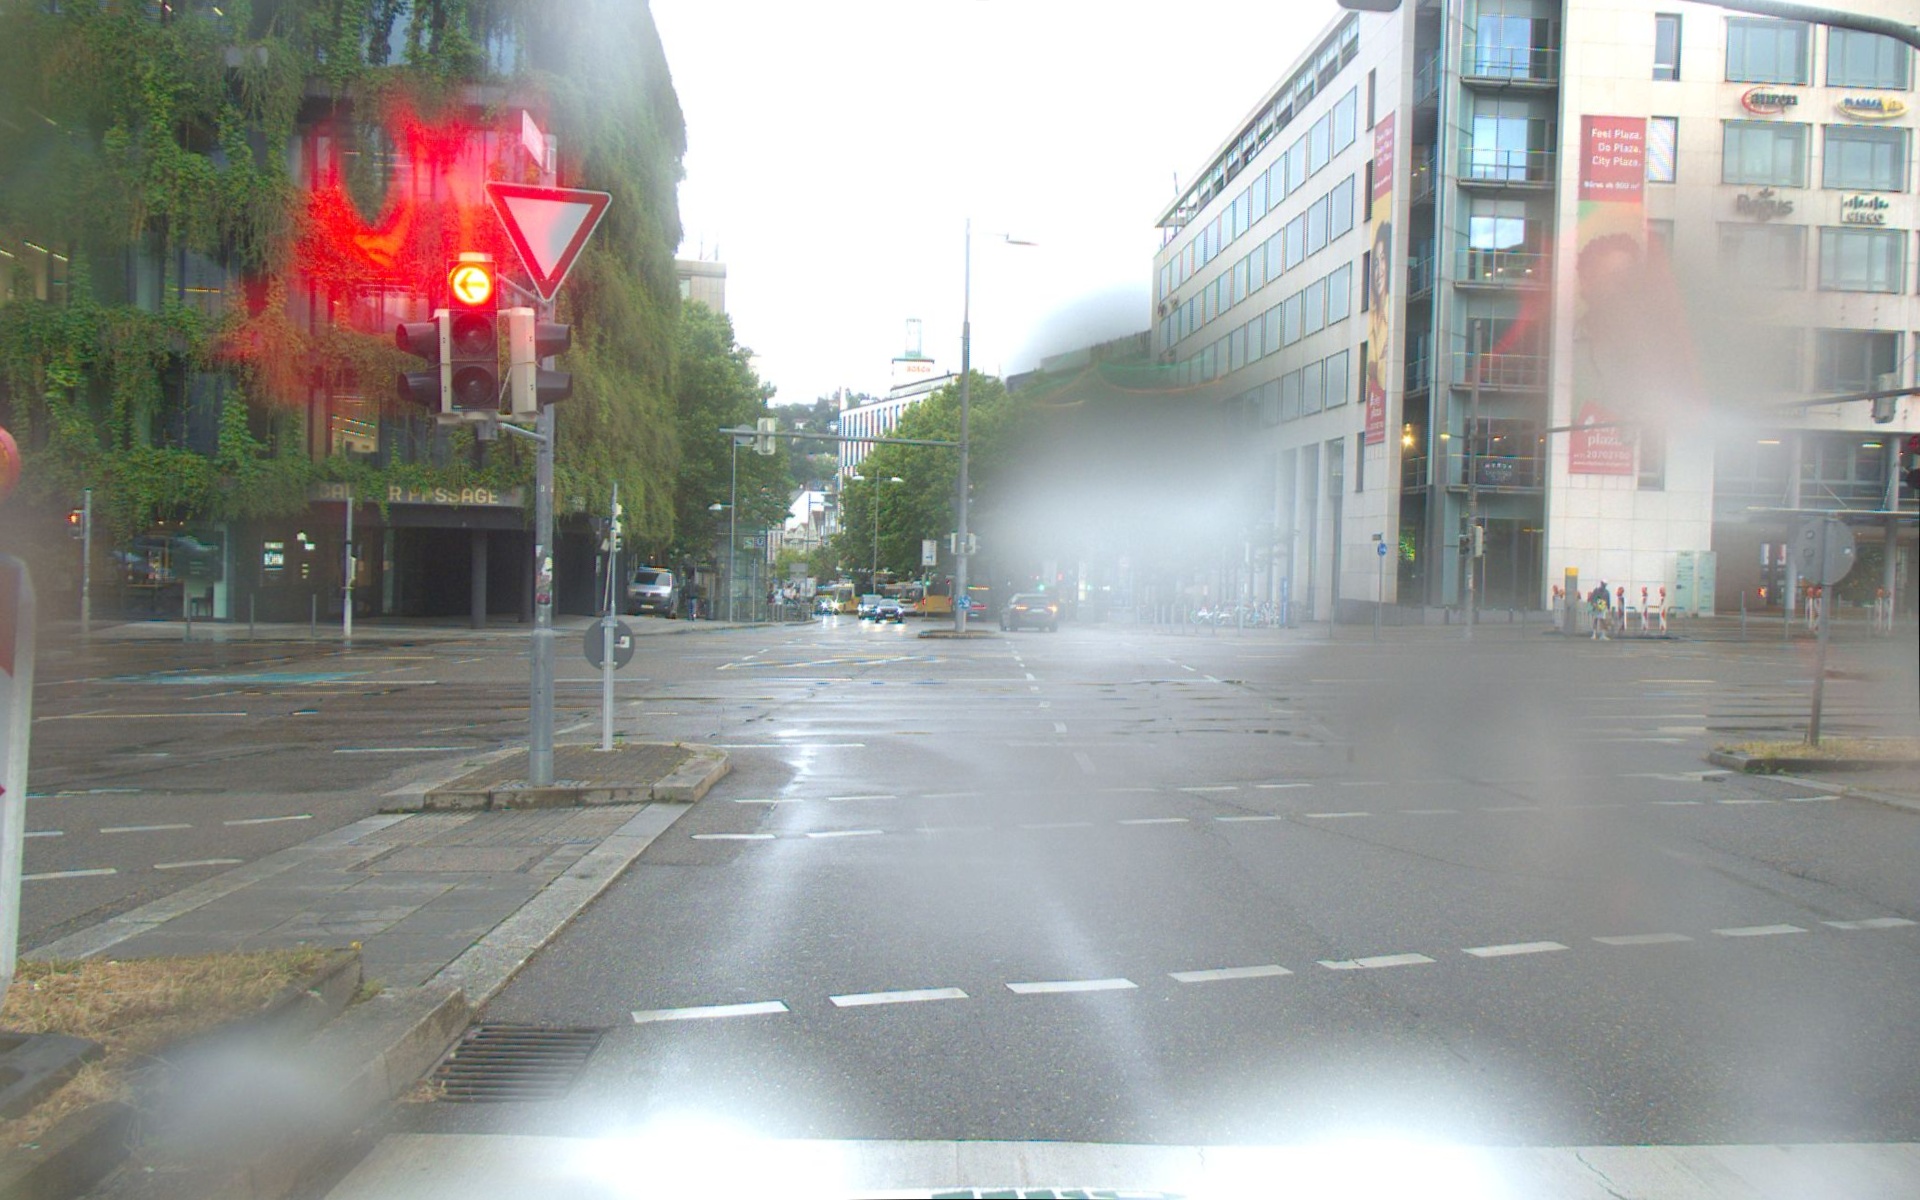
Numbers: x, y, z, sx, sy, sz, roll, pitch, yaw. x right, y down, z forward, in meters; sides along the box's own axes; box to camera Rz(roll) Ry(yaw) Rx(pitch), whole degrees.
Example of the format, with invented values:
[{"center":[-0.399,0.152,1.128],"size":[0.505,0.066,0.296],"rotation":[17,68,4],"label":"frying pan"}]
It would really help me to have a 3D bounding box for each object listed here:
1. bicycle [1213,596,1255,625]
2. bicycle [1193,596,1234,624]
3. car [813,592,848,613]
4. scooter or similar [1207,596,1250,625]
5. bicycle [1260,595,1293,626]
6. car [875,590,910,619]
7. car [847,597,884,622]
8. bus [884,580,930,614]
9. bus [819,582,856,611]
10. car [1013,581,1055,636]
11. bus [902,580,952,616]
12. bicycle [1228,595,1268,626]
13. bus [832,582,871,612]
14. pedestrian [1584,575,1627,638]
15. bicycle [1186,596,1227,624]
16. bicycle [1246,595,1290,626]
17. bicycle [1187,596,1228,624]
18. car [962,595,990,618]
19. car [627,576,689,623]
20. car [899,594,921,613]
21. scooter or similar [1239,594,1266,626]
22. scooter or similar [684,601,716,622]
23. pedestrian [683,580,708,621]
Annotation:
[{"center":[11.889,0.440,71.775],"size":[1.741,1.215,0.586],"rotation":[1,-1,1],"label":"bicycle"},{"center":[11.419,0.443,74.489],"size":[1.741,1.215,0.586],"rotation":[1,-1,1],"label":"bicycle"},{"center":[-11.736,0.237,149.428],"size":[2.129,1.796,5.089],"rotation":[1,0,-16],"label":"car"},{"center":[11.544,0.431,71.148],"size":[1.741,1.215,0.586],"rotation":[1,-1,1],"label":"scooter or similar"},{"center":[12.857,0.437,67.138],"size":[0.575,1.215,1.776],"rotation":[1,-1,37],"label":"bicycle"},{"center":[-4.313,0.282,105.552],"size":[2.121,1.796,5.108],"rotation":[1,0,-4],"label":"car"},{"center":[-6.982,0.715,121.634],"size":[2.125,1.796,4.817],"rotation":[-1,0,-11],"label":"car"},{"center":[-4.972,-0.270,153.012],"size":[2.585,3.048,7.417],"rotation":[0,0,-16],"label":"bus"},{"center":[-13.346,-0.415,180.127],"size":[2.585,3.048,7.417],"rotation":[0,0,-16],"label":"bus"},{"center":[2.855,0.322,64.242],"size":[1.512,2.049,4.669],"rotation":[1,0,1],"label":"car"},{"center":[-2.975,-0.214,145.895],"size":[2.585,3.048,7.417],"rotation":[0,0,-16],"label":"bus"},{"center":[11.582,0.412,66.561],"size":[0.578,1.215,1.766],"rotation":[1,0,-28],"label":"bicycle"},{"center":[-11.349,-0.297,173.060],"size":[2.585,3.048,7.296],"rotation":[0,0,-16],"label":"bus"},{"center":[19.482,0.199,49.932],"size":[0.942,1.848,0.836],"rotation":[1,-1,-1],"label":"pedestrian"},{"center":[10.859,0.427,72.929],"size":[1.741,1.215,0.586],"rotation":[1,-1,1],"label":"bicycle"},{"center":[12.119,0.415,65.017],"size":[1.590,1.215,0.586],"rotation":[1,-1,25],"label":"bicycle"},{"center":[11.002,0.432,73.565],"size":[1.741,1.215,0.586],"rotation":[1,-1,1],"label":"bicycle"},{"center":[1.079,0.457,113.350],"size":[1.745,1.534,3.999],"rotation":[1,0,-1],"label":"car"},{"center":[-12.392,-0.015,68.137],"size":[1.832,1.871,3.999],"rotation":[1,0,-1],"label":"car"},{"center":[-4.284,0.323,141.660],"size":[1.745,1.534,3.999],"rotation":[1,0,-1],"label":"car"},{"center":[11.383,0.399,64.321],"size":[0.946,1.215,0.453],"rotation":[1,-1,40],"label":"scooter or similar"},{"center":[-12.938,0.547,82.337],"size":[0.612,1.022,1.653],"rotation":[1,0,37],"label":"scooter or similar"},{"center":[-11.002,0.037,68.844],"size":[0.915,1.673,0.774],"rotation":[1,-1,-1],"label":"pedestrian"}]
